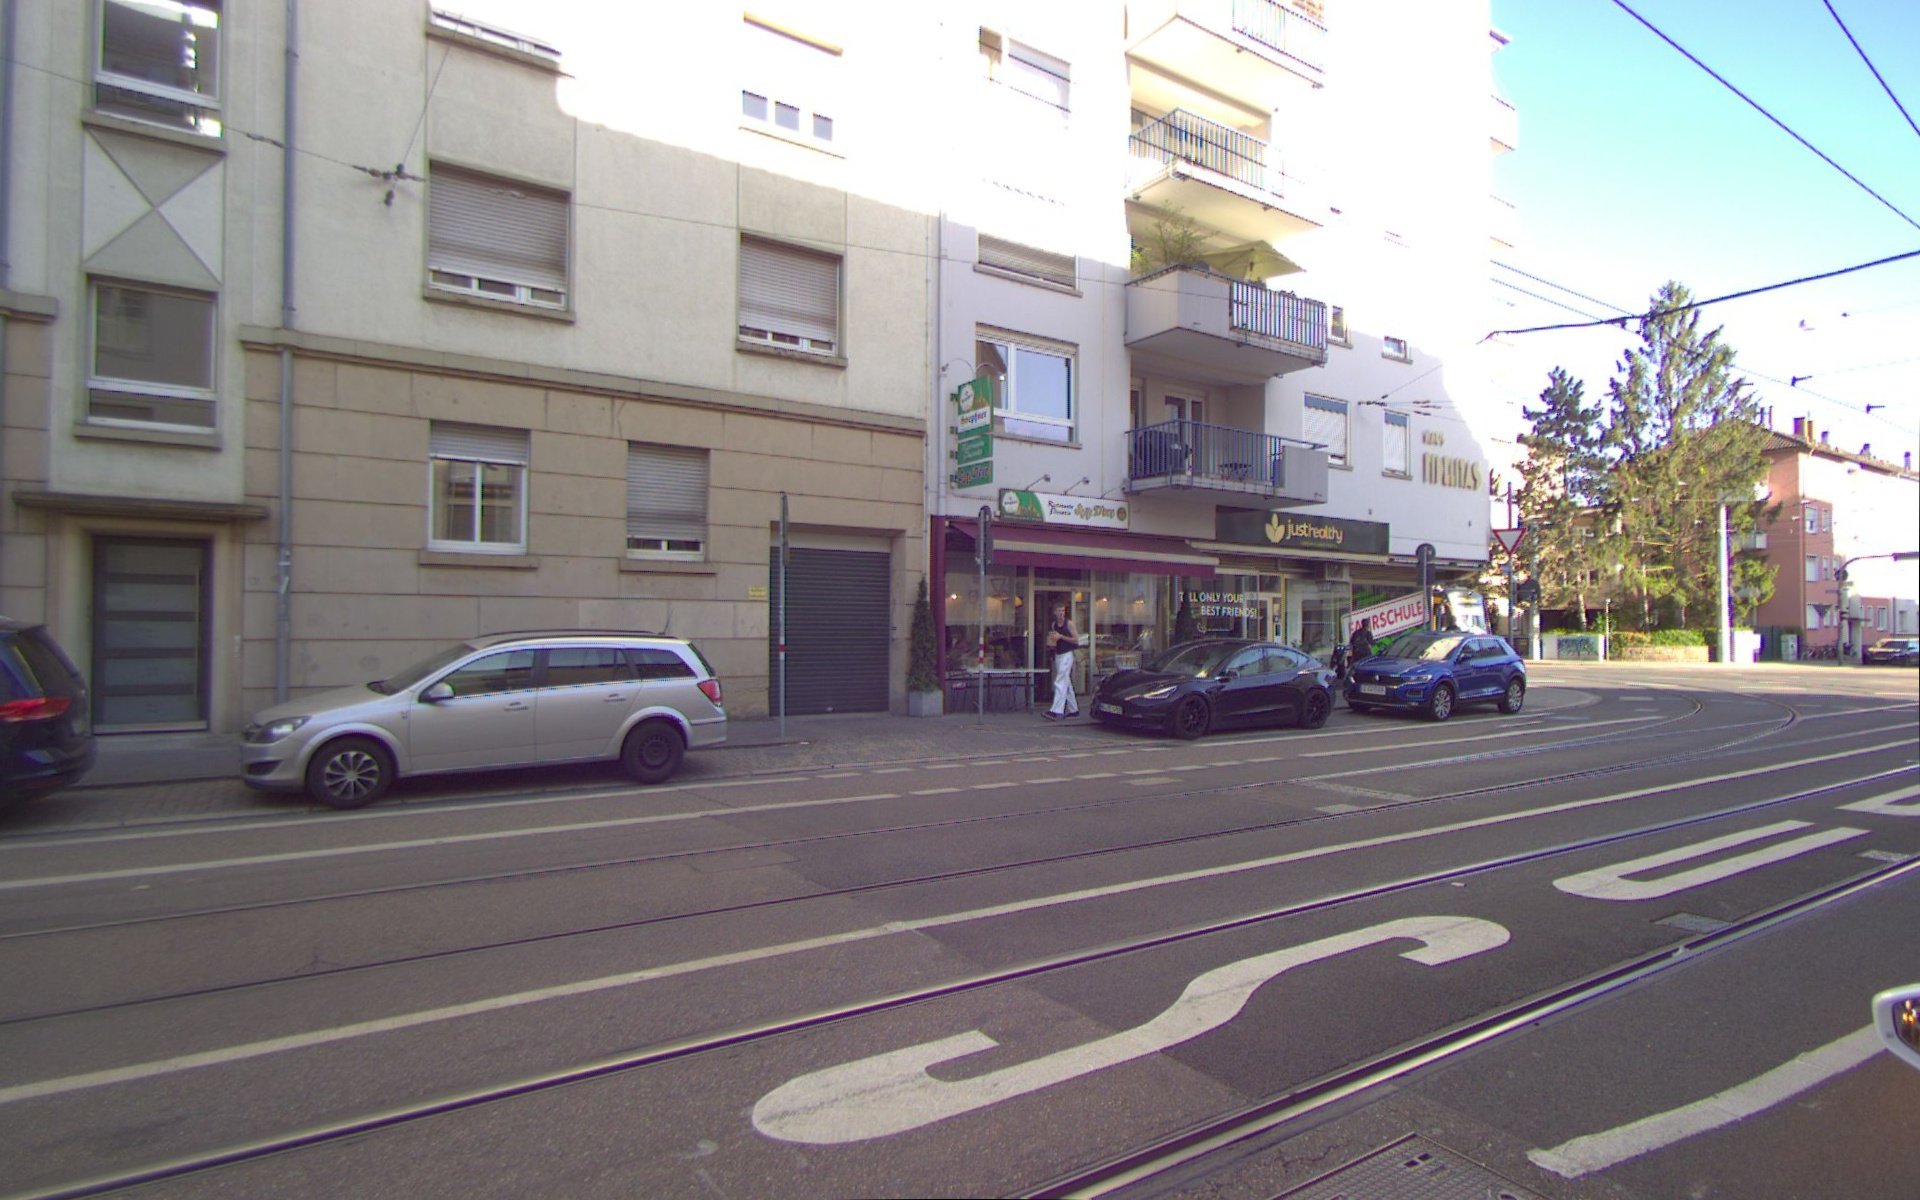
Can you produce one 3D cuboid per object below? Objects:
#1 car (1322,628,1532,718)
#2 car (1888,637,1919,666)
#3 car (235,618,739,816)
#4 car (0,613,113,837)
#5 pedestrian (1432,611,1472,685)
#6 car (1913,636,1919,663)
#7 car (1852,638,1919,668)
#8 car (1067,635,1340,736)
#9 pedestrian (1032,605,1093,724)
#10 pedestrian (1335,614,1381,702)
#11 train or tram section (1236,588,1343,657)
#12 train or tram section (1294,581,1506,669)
[{"bbox_3d":[8.954,1.313,19.161,4.030,1.552,1.858,1,-2,-34],"label":"car"},{"bbox_3d":[54.433,2.919,56.730,4.250,1.518,1.806,2,0,-30],"label":"car"},{"bbox_3d":[-4.700,1.039,10.316,4.319,1.580,1.981,2,0,-34],"label":"car"},{"bbox_3d":[-9.047,0.895,7.258,4.249,1.606,1.893,2,0,-35],"label":"car"},{"bbox_3d":[14.029,1.356,28.639,0.688,2.040,0.764,2,0,-35],"label":"pedestrian"},{"bbox_3d":[58.189,2.957,59.309,4.103,1.531,1.778,2,0,-31],"label":"car"},{"bbox_3d":[49.549,2.827,53.604,3.949,1.440,1.784,2,0,-31],"label":"car"},{"bbox_3d":[3.974,1.277,16.140,4.382,1.405,1.810,1,-2,-34],"label":"car"},{"bbox_3d":[1.650,1.020,16.139,0.725,1.857,0.595,2,0,-30],"label":"pedestrian"},{"bbox_3d":[8.438,1.218,21.298,0.691,1.829,0.568,2,0,-30],"label":"pedestrian"},{"bbox_3d":[19.174,1.226,59.160,2.780,3.679,9.079,1,0,-3],"label":"train or tram section"},{"bbox_3d":[20.447,1.114,48.093,3.016,3.641,12.612,1,-1,-9],"label":"train or tram section"}]
